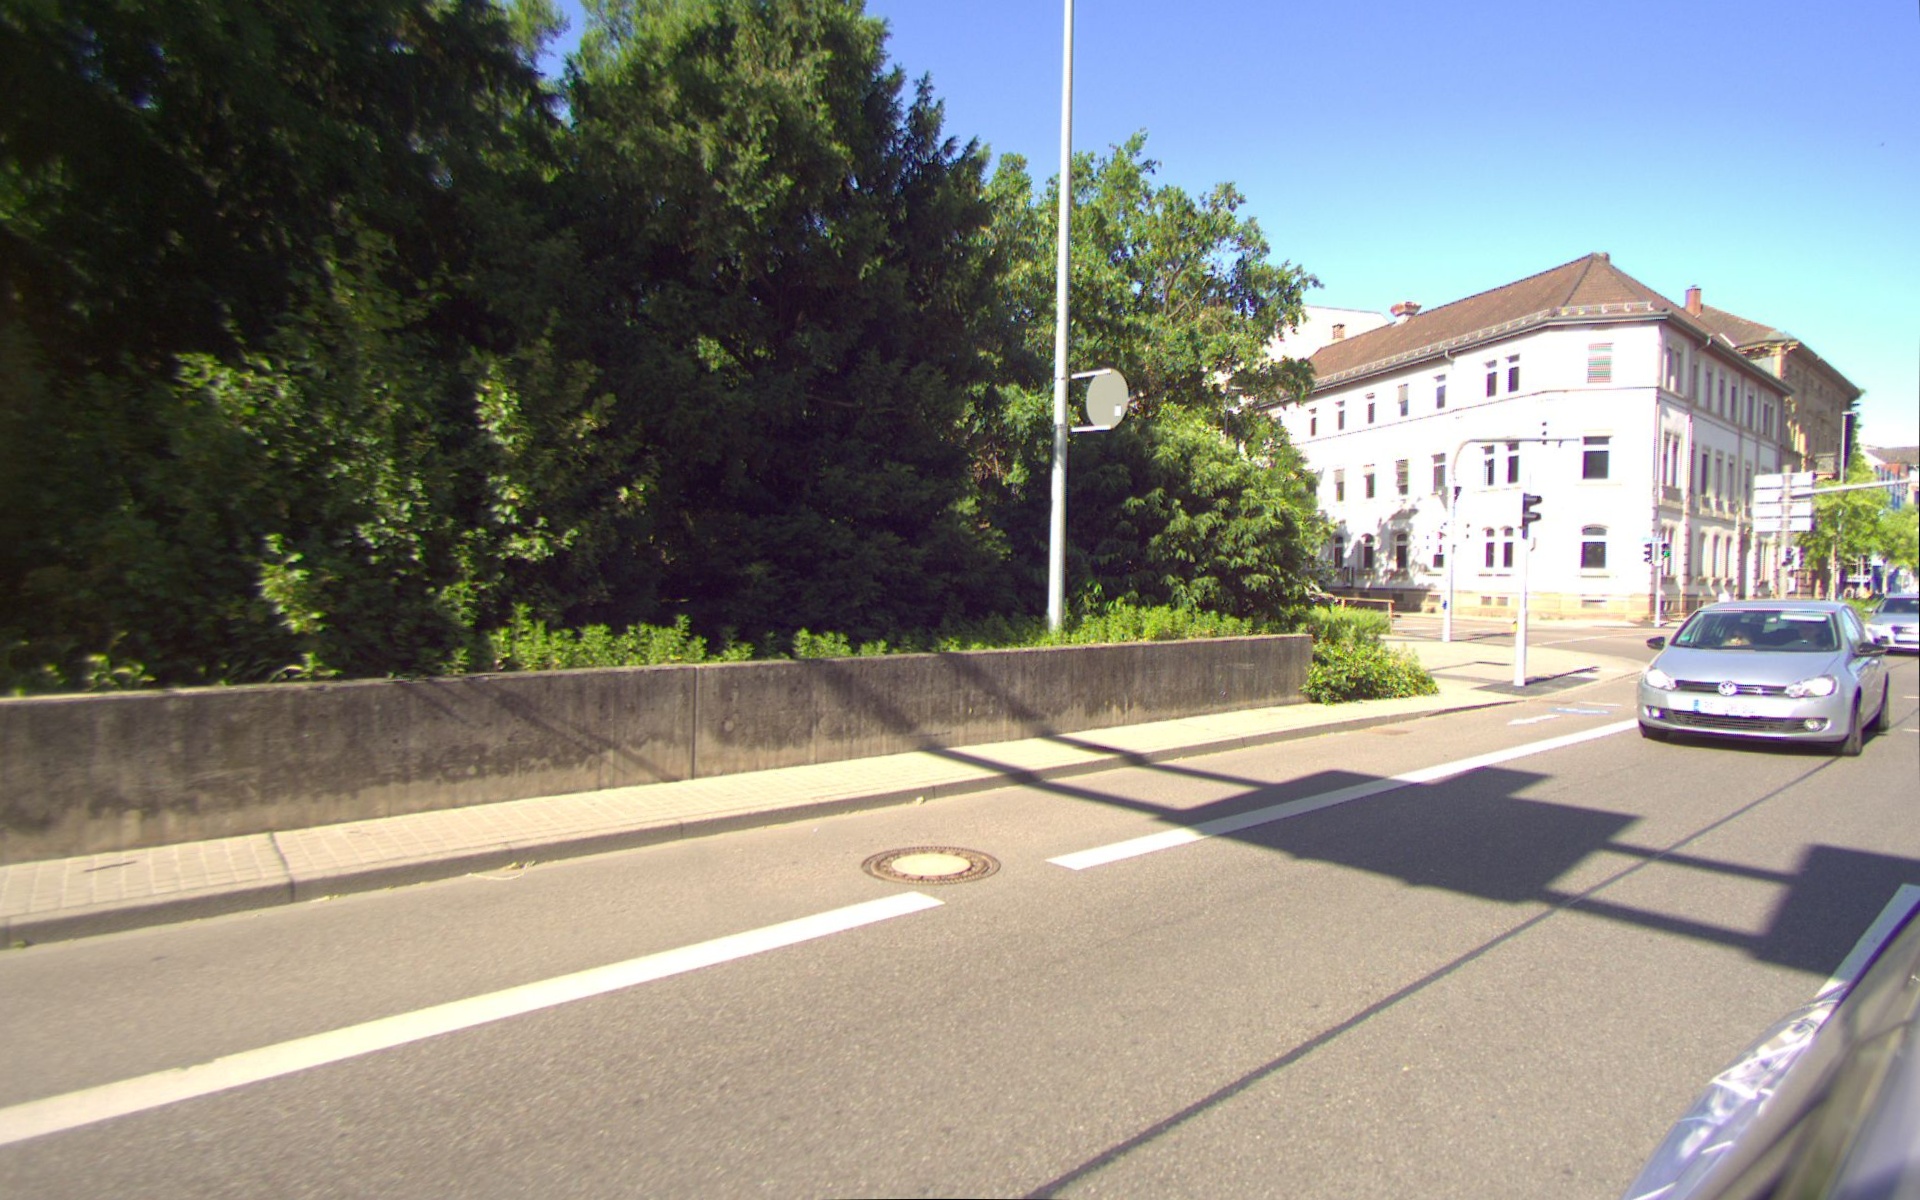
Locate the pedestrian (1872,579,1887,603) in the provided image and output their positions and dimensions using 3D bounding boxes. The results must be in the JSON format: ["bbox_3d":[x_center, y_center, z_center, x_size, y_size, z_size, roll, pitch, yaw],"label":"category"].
[{"bbox_3d":[61.467,-0.604,67.631,0.891,1.581,0.668,0,1,-43],"label":"pedestrian"}]

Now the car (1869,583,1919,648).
[{"bbox_3d":[22.782,0.318,23.644,3.931,1.441,1.837,-1,1,-41],"label":"car"}]

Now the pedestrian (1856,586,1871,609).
[{"bbox_3d":[60.941,-0.172,68.273,0.891,1.581,0.668,0,1,-43],"label":"pedestrian"}]

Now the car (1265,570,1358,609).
[{"bbox_3d":[15.128,-0.466,43.792,1.696,1.501,4.009,3,0,-17],"label":"car"}]

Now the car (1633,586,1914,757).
[{"bbox_3d":[8.803,0.601,10.841,3.931,1.493,1.701,-1,1,-41],"label":"car"}]
